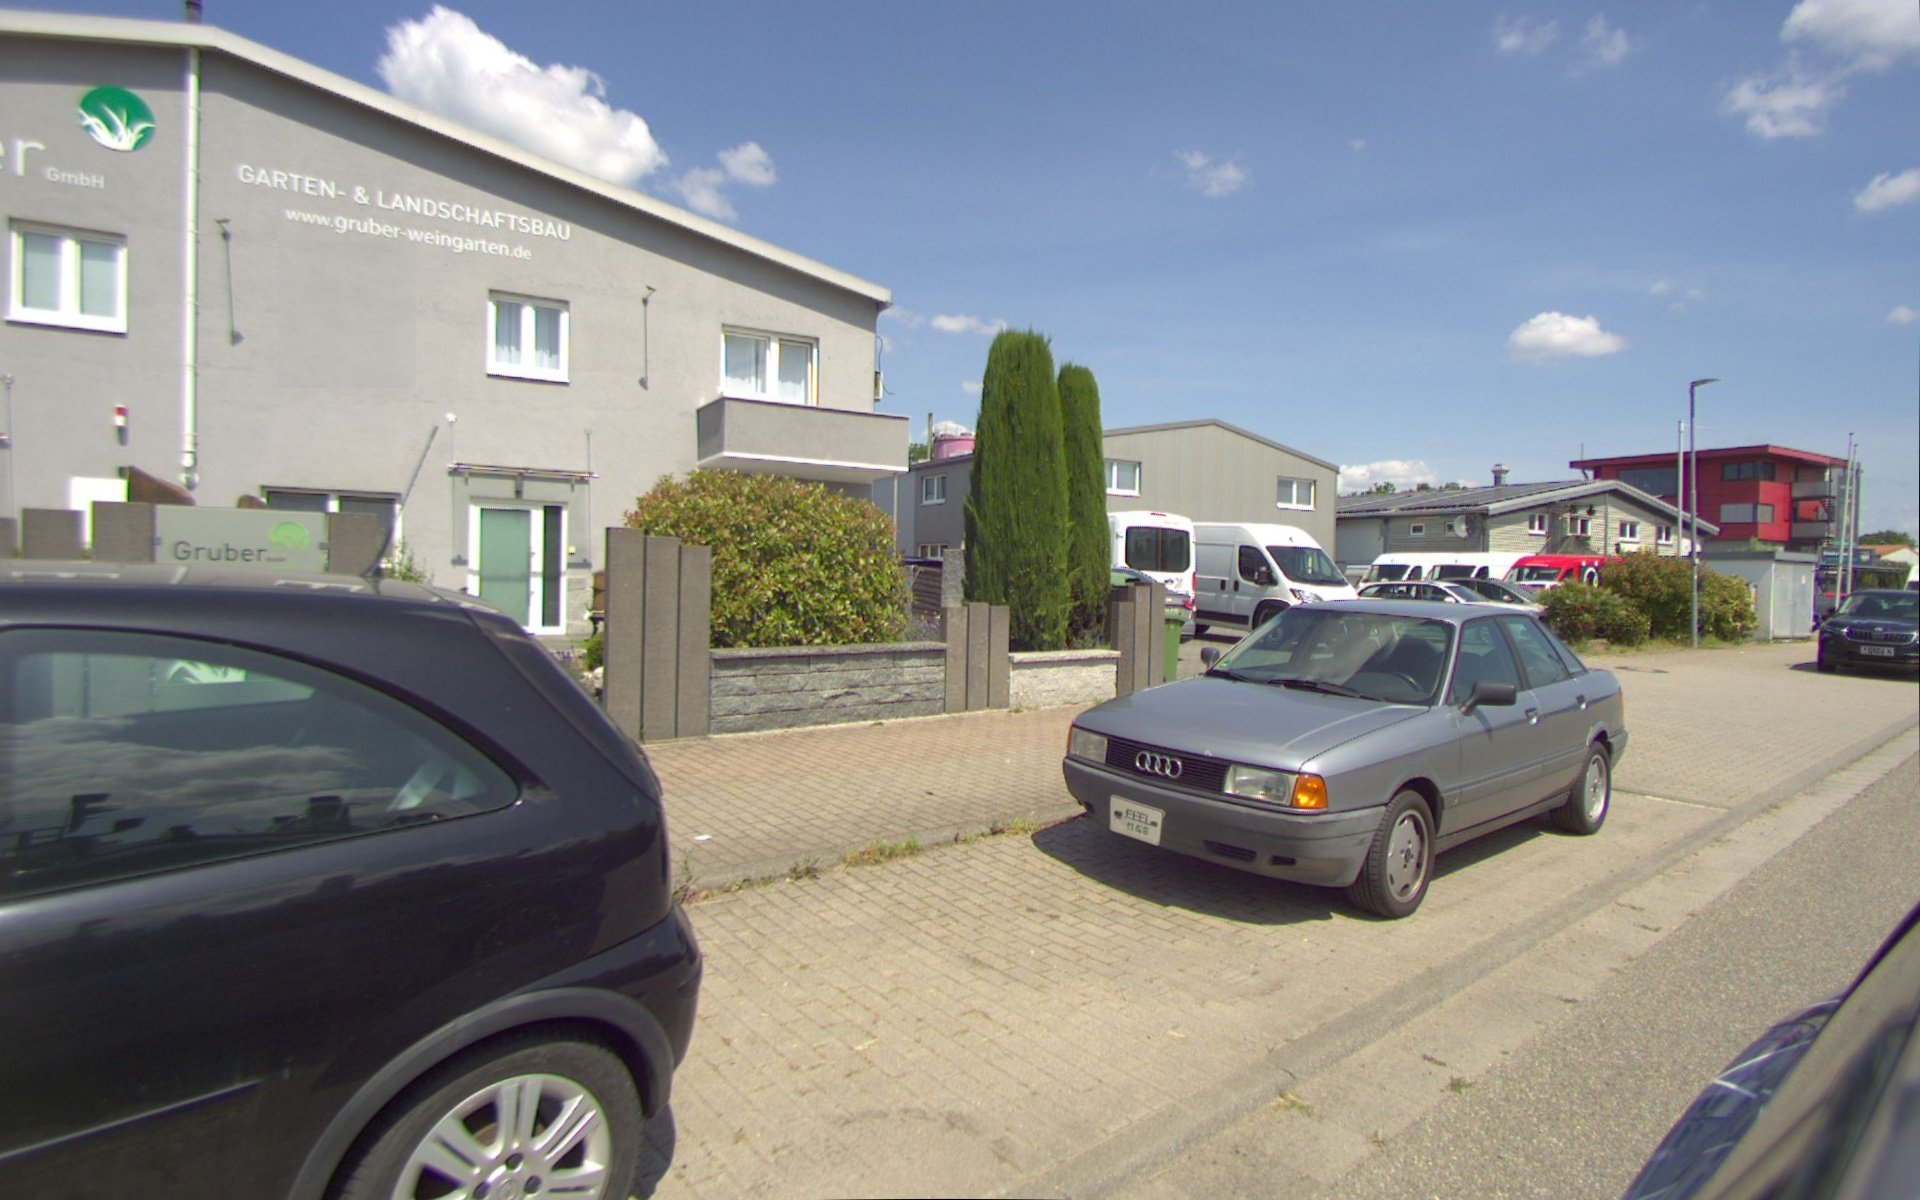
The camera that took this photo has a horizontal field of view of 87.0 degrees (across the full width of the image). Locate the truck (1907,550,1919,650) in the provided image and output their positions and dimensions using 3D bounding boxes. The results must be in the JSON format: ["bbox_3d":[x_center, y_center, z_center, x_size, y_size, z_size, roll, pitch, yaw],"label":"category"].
[{"bbox_3d":[27.479,0.032,27.402,5.195,2.597,1.998,0,2,-40],"label":"truck"}]

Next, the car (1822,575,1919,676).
[{"bbox_3d":[18.258,0.456,19.543,3.930,1.723,1.805,0,4,-41],"label":"car"}]

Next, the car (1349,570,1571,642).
[{"bbox_3d":[12.185,0.084,24.951,1.683,1.505,4.606,0,2,-39],"label":"car"}]

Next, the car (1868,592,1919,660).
[{"bbox_3d":[22.500,0.619,23.338,3.690,1.436,1.805,1,3,-41],"label":"car"}]

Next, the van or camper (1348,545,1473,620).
[{"bbox_3d":[17.720,-0.680,39.754,4.800,2.802,2.109,1,2,-32],"label":"van or camper"}]

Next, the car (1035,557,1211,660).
[{"bbox_3d":[2.536,0.078,16.103,1.149,1.467,2.638,0,2,-40],"label":"car"}]

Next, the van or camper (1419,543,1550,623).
[{"bbox_3d":[19.493,-0.633,37.573,4.800,2.802,2.101,1,2,-32],"label":"van or camper"}]

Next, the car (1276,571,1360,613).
[{"bbox_3d":[13.001,-0.295,36.743,2.772,1.423,1.457,1,2,-32],"label":"car"}]

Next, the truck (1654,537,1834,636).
[{"bbox_3d":[23.646,-0.408,30.467,5.669,2.722,2.388,0,2,-32],"label":"truck"}]

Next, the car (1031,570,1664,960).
[{"bbox_3d":[2.456,0.613,5.829,4.122,1.441,1.618,0,3,-41],"label":"car"}]

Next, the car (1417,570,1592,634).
[{"bbox_3d":[14.323,0.010,26.765,1.683,1.505,3.703,0,2,-39],"label":"car"}]

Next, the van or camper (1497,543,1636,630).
[{"bbox_3d":[20.830,-0.467,34.708,4.800,2.802,2.043,1,2,-32],"label":"van or camper"}]

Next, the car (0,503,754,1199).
[{"bbox_3d":[-2.412,0.570,1.511,3.808,1.490,1.618,0,3,-41],"label":"car"}]

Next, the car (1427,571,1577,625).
[{"bbox_3d":[16.735,-0.096,31.382,1.683,1.505,3.703,0,2,-39],"label":"car"}]

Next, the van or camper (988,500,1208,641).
[{"bbox_3d":[2.691,-0.640,21.203,1.959,2.565,5.118,1,2,-26],"label":"van or camper"}]

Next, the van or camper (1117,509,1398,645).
[{"bbox_3d":[6.007,-0.527,21.395,2.091,2.467,5.850,1,2,-30],"label":"van or camper"}]

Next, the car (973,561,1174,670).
[{"bbox_3d":[1.507,0.153,14.058,1.149,1.327,2.708,0,2,-40],"label":"car"}]
